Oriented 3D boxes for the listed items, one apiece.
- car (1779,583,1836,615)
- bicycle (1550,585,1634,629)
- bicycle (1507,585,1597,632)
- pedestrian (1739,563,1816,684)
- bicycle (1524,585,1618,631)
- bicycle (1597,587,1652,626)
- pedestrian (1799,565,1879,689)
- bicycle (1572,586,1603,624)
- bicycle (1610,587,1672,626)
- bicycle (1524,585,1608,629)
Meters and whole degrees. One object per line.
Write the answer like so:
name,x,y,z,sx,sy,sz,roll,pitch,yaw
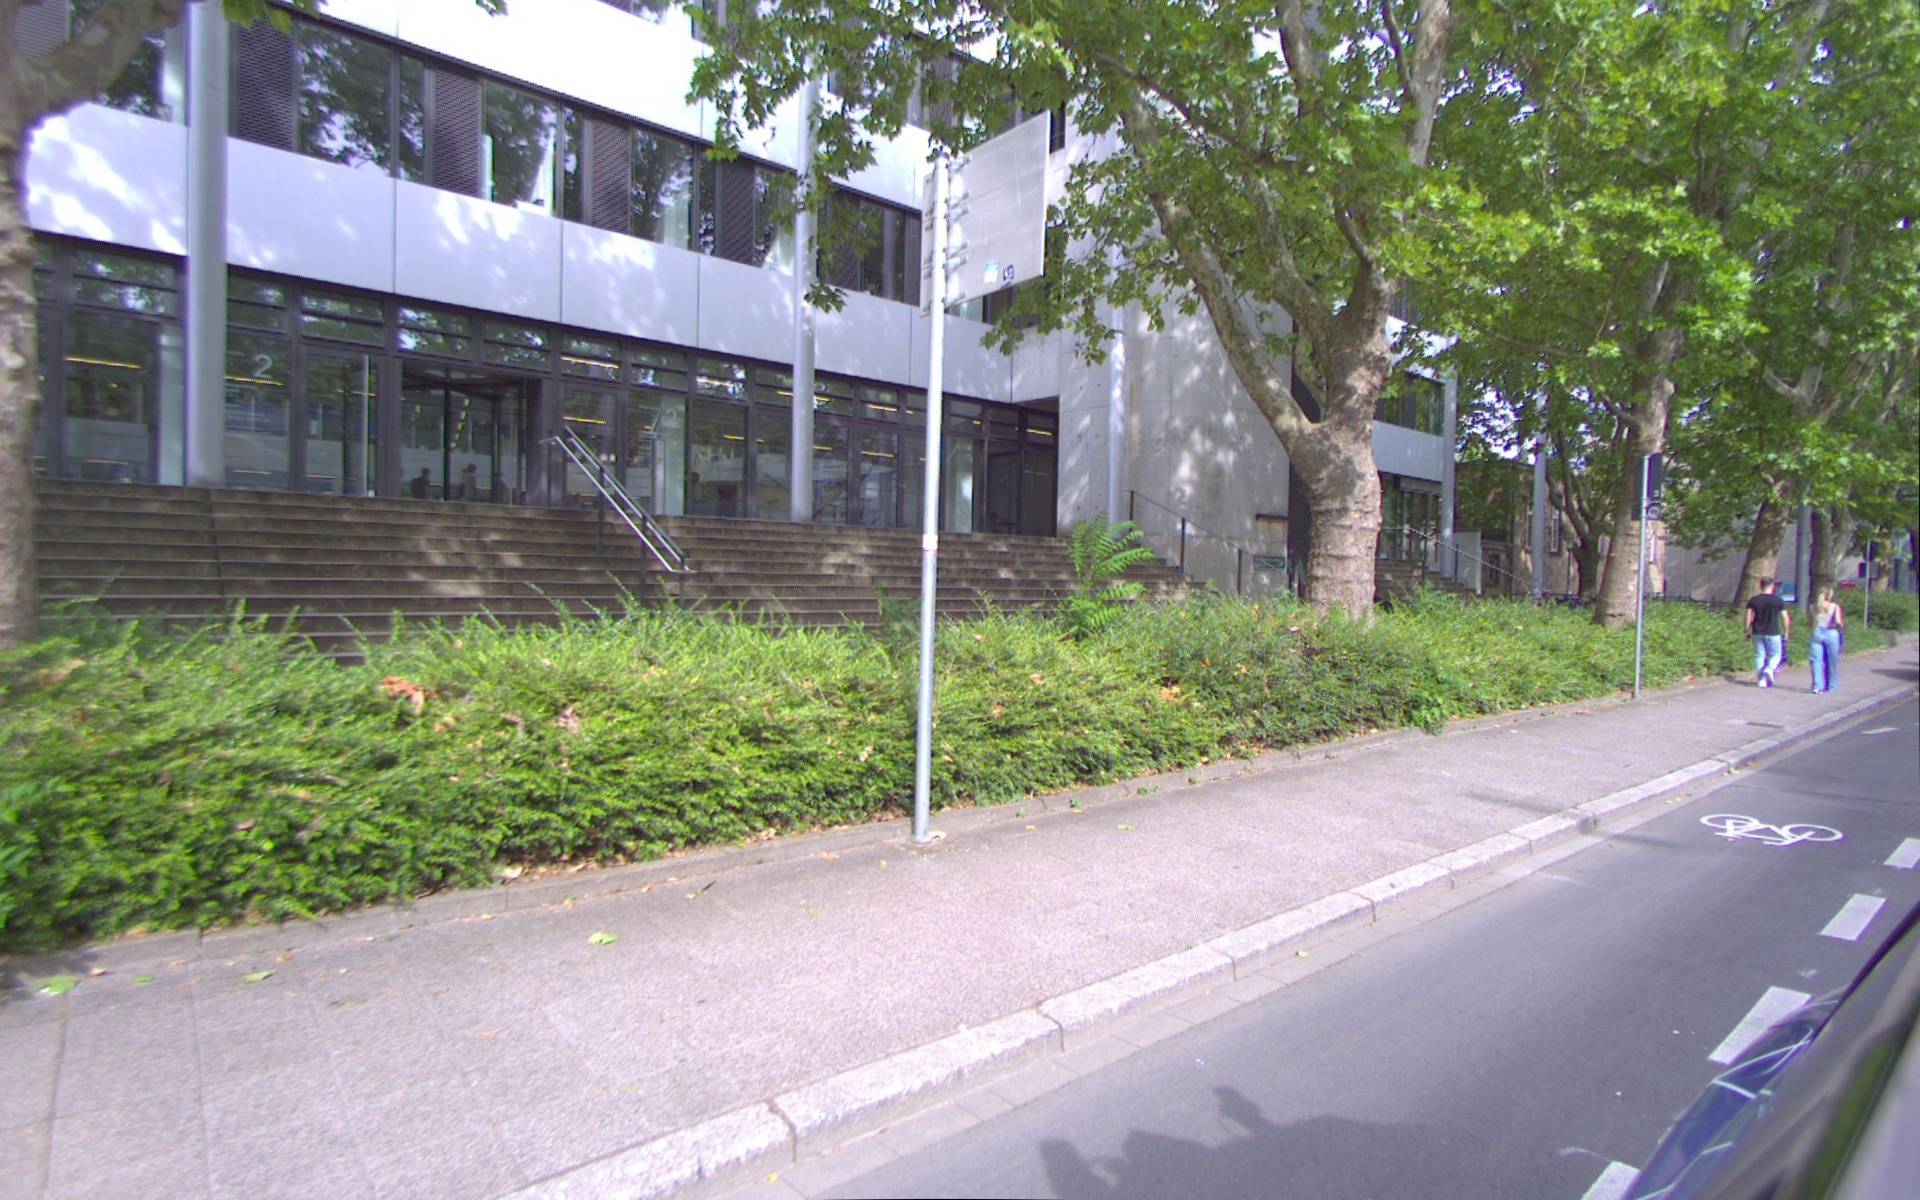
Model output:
car,43.155,-0.026,51.491,4.223,1.468,1.671,3,-1,-42
bicycle,18.268,0.185,29.286,0.661,1.131,1.919,0,2,-40
bicycle,15.793,0.216,27.036,0.661,1.131,1.919,0,2,-40
pedestrian,12.965,0.346,16.050,1.016,1.821,0.716,0,3,-42
bicycle,16.803,0.205,27.875,0.661,1.131,2.084,0,2,-40
bicycle,20.439,0.182,31.139,1.374,1.131,0.505,3,2,36
pedestrian,13.459,0.386,15.497,1.016,1.805,0.712,0,3,-42
bicycle,19.537,0.157,31.519,0.491,1.131,1.415,3,2,44
bicycle,21.320,0.188,31.697,1.539,1.131,0.461,4,2,43
bicycle,17.285,0.188,28.897,0.661,1.131,1.919,0,2,-40
